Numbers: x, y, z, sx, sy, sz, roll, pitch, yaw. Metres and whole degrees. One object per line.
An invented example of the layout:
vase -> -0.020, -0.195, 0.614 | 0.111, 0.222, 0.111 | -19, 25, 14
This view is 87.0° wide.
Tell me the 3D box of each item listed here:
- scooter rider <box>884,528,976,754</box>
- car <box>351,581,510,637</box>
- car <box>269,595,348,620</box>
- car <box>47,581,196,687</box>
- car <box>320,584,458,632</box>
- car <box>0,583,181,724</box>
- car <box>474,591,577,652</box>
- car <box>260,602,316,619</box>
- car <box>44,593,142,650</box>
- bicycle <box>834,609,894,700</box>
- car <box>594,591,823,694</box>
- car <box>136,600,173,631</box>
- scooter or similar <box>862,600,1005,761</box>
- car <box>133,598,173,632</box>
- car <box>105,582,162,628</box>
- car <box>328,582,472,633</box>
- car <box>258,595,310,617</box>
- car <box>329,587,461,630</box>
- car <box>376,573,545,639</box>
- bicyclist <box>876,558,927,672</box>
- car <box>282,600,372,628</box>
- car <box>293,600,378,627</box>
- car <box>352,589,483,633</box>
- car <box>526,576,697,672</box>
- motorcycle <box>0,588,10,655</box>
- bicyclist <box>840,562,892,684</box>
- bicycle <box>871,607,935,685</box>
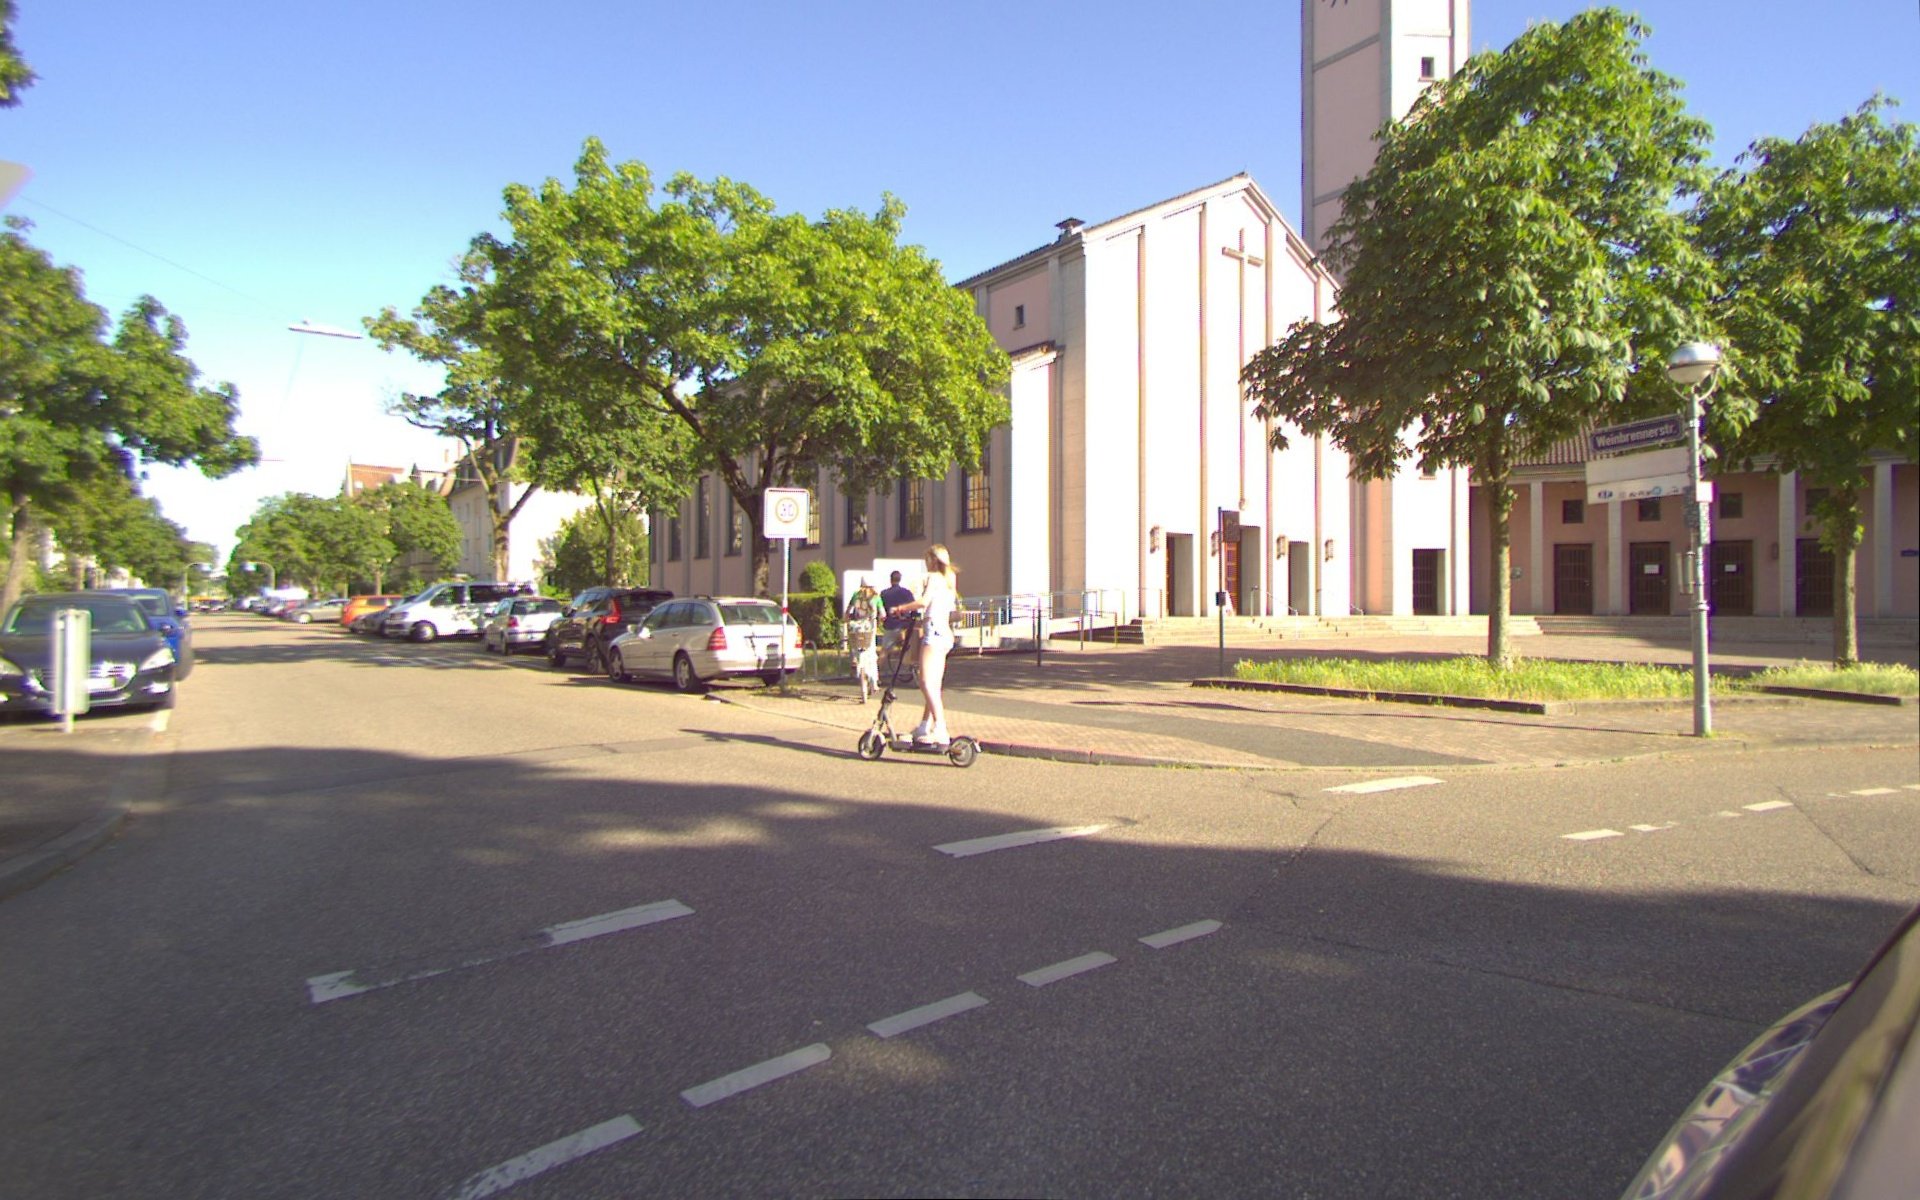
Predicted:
scooter rider -> -0.245, 0.334, 8.675 | 0.623, 1.855, 0.622 | 0, -1, 17
car -> -18.535, 0.321, 35.561 | 4.692, 1.865, 1.808 | 1, -1, -38
car -> -48.323, 0.557, 75.095 | 4.696, 1.767, 1.806 | 1, -1, -42
car -> -14.734, 0.506, 17.993 | 1.777, 1.581, 4.397 | -3, 2, -37
car -> -23.309, 0.326, 41.402 | 4.692, 1.865, 1.808 | 1, -1, -38
car -> -11.504, 0.581, 13.200 | 1.779, 1.502, 4.330 | -3, 2, -42
car -> -11.716, 0.537, 27.114 | 1.775, 1.493, 4.339 | 1, -1, -34
car -> -60.611, 0.964, 91.309 | 3.930, 1.529, 1.797 | 1, -1, -42
car -> -24.216, 0.544, 28.404 | 1.777, 1.414, 4.397 | -3, 2, -37
bicycle -> -1.287, 0.706, 13.838 | 0.585, 1.121, 1.862 | 1, 0, 1
car -> -4.146, 0.599, 16.226 | 1.778, 1.434, 4.331 | 1, -1, -41
car -> -53.705, 0.994, 67.516 | 1.777, 1.954, 4.397 | -3, 2, -37
scooter or similar -> -0.216, 0.649, 8.658 | 1.091, 1.299, 0.629 | 0, 0, 17
car -> -50.453, 0.895, 63.320 | 1.777, 1.954, 4.397 | -3, 2, -37
car -> -37.701, 0.183, 46.264 | 1.777, 1.954, 4.397 | -3, 2, -37
car -> -21.854, 0.305, 39.611 | 4.692, 1.865, 1.808 | 1, -1, -38
car -> -80.003, 0.708, 119.843 | 4.913, 2.544, 1.996 | 1, -1, -42
car -> -24.238, 0.385, 43.525 | 4.696, 1.767, 1.806 | 1, -1, -42
car -> -16.420, 0.218, 33.400 | 4.696, 2.027, 1.806 | 1, -1, -42
bicyclist -> -0.928, 0.231, 15.883 | 0.632, 1.736, 0.724 | 1, 0, -15
car -> -40.683, 0.895, 65.099 | 4.696, 1.767, 1.806 | 1, -1, -42
car -> -42.615, 0.923, 69.126 | 4.696, 1.767, 1.806 | 1, -1, -42
car -> -19.891, 0.421, 37.182 | 3.930, 1.529, 1.797 | 1, -1, -42
car -> -7.165, 0.445, 20.533 | 1.778, 1.750, 4.331 | 1, -1, -41
motorcycle -> -21.046, 0.438, 20.797 | 0.938, 1.448, 2.282 | 2, -1, -3
bicyclist -> -1.276, 0.305, 13.816 | 0.585, 1.601, 0.804 | 1, 0, 2
bicycle -> -0.914, 0.697, 15.822 | 0.632, 1.121, 1.720 | 1, 0, -15
